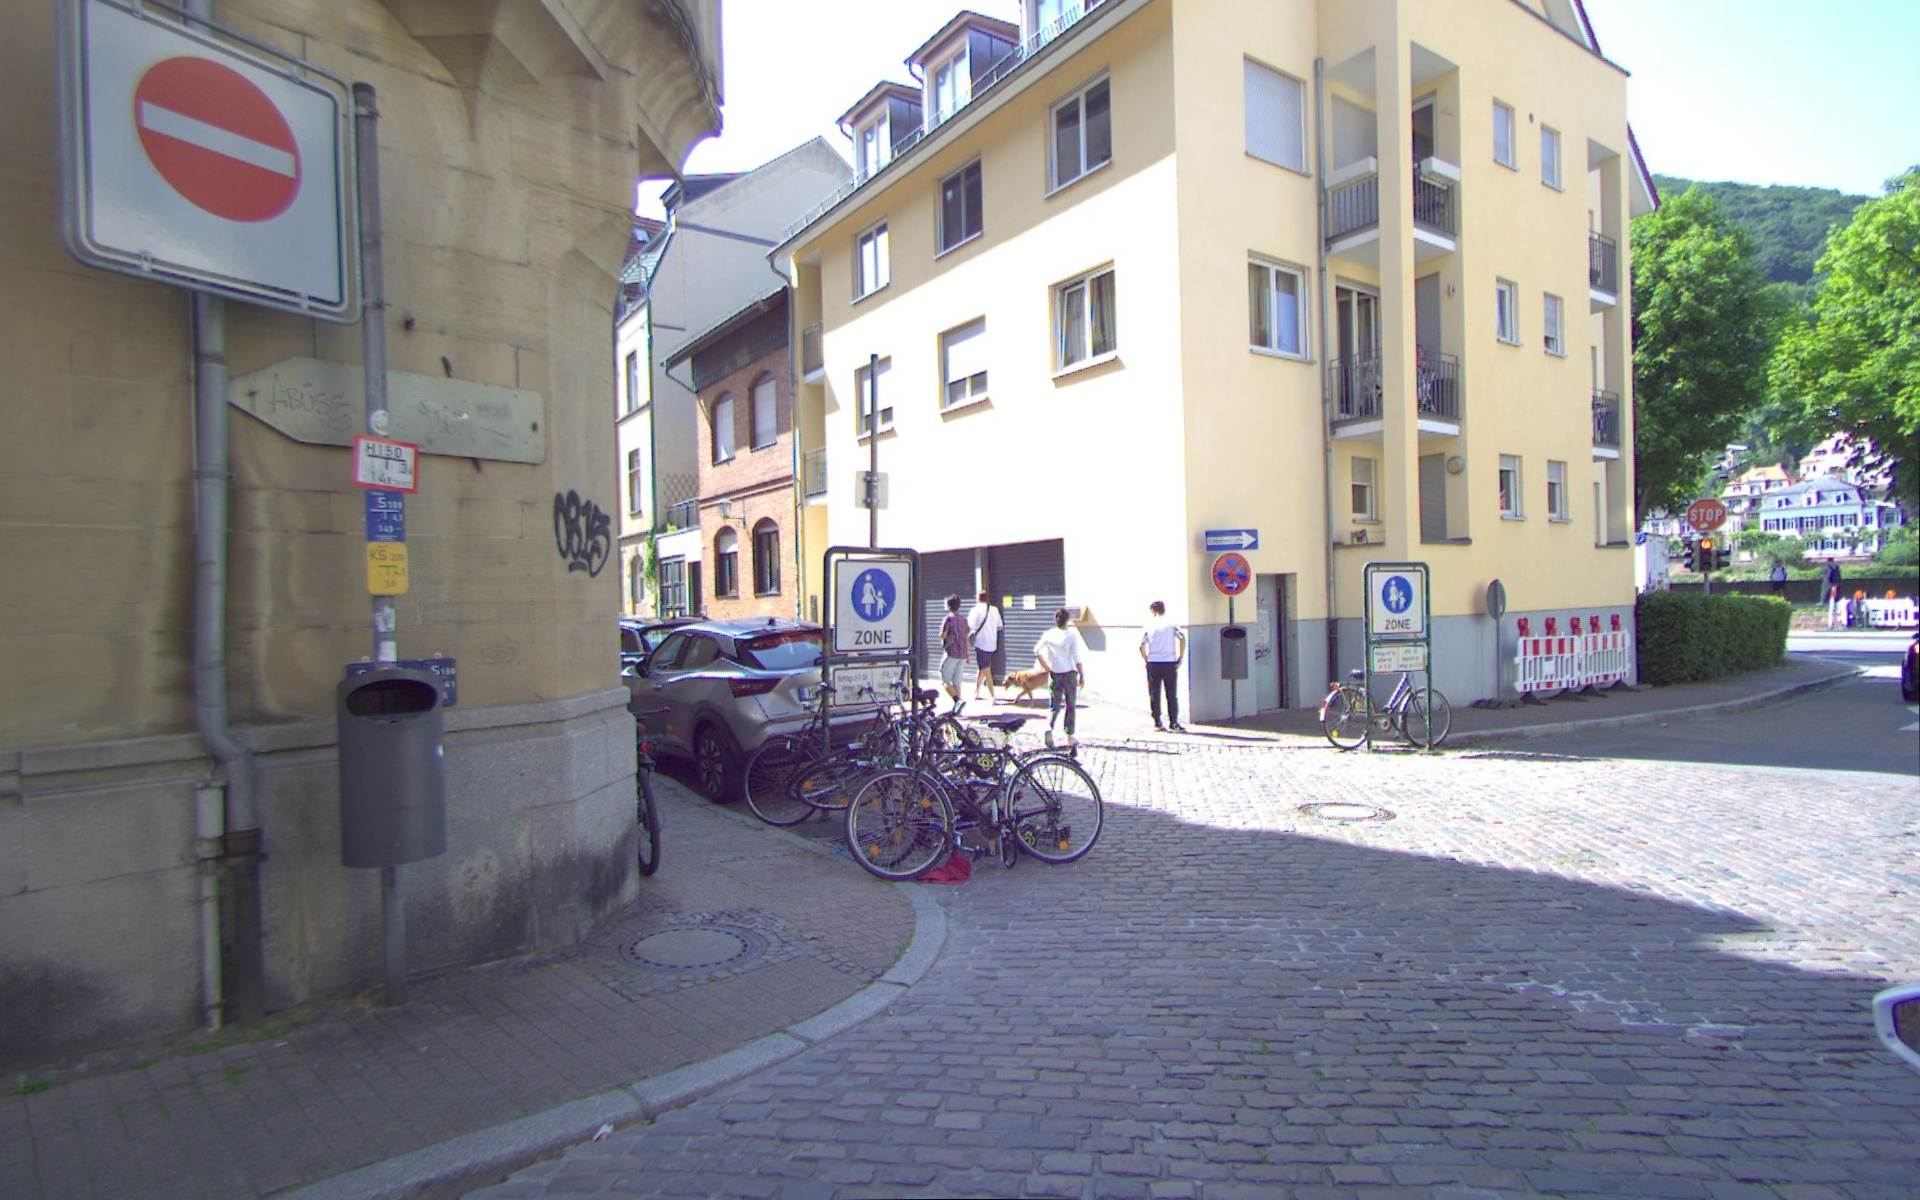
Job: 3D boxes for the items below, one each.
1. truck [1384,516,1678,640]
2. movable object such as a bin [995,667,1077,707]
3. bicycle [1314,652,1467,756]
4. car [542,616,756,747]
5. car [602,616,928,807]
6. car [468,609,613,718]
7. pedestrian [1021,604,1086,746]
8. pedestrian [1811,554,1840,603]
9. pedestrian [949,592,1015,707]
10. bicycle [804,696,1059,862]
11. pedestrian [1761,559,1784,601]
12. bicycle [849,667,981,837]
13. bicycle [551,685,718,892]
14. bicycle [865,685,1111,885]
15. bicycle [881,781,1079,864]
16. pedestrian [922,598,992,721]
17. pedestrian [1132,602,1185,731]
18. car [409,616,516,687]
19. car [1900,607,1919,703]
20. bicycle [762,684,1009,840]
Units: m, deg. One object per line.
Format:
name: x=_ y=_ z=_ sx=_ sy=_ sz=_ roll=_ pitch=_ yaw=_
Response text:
truck: x=21.380 y=-0.587 z=38.304 sx=2.838 sy=4.101 sz=9.308 roll=0 pitch=-2 yaw=-40
movable object such as a bin: x=1.142 y=1.316 z=15.176 sx=1.220 sy=0.571 sz=0.300 roll=-3 pitch=-2 yaw=29
bicycle: x=5.092 y=1.203 z=11.854 sx=1.880 sy=1.093 sz=0.390 roll=-1 pitch=0 yaw=-20
car: x=-4.637 y=1.040 z=14.586 sx=1.835 sy=1.565 sz=3.960 roll=0 pitch=0 yaw=-36
car: x=-2.214 y=0.988 z=10.576 sx=1.835 sy=1.564 sz=3.887 roll=-1 pitch=0 yaw=-37
car: x=-7.393 y=1.000 z=17.517 sx=1.553 sy=1.657 sz=3.822 roll=0 pitch=0 yaw=-35
pedestrian: x=1.137 y=0.888 z=12.123 sx=0.676 sy=1.639 sz=0.757 roll=2 pitch=-1 yaw=10
pedestrian: x=33.534 y=-0.822 z=38.918 sx=0.752 sy=1.882 sz=0.754 roll=0 pitch=0 yaw=34
pedestrian: x=0.338 y=0.770 z=15.954 sx=0.613 sy=1.768 sz=0.853 roll=2 pitch=0 yaw=-35
bicycle: x=-0.163 y=1.217 z=7.022 sx=1.633 sy=1.085 sz=0.285 roll=0 pitch=43 yaw=-48
pedestrian: x=34.180 y=-0.829 z=42.249 sx=0.699 sy=1.755 sz=0.753 roll=0 pitch=0 yaw=41
bicycle: x=-0.329 y=1.194 z=8.280 sx=0.280 sy=1.100 sz=1.640 roll=-3 pitch=1 yaw=25
bicycle: x=-2.145 y=1.139 z=6.500 sx=0.491 sy=1.100 sz=1.625 roll=4 pitch=-4 yaw=-36
bicycle: x=0.201 y=1.153 z=6.497 sx=1.619 sy=1.100 sz=0.284 roll=-1 pitch=3 yaw=-23
bicycle: x=0.117 y=1.588 z=7.309 sx=1.108 sy=0.291 sz=1.073 roll=-1 pitch=-1 yaw=-23
pedestrian: x=-0.055 y=0.867 z=15.058 sx=0.613 sy=1.768 sz=0.853 roll=2 pitch=0 yaw=-35
pedestrian: x=2.577 y=0.852 z=13.089 sx=0.644 sy=1.639 sz=0.493 roll=0 pitch=0 yaw=10
car: x=-11.699 y=1.133 z=23.490 sx=1.647 sy=1.462 sz=3.821 roll=0 pitch=0 yaw=-36
car: x=17.324 y=0.806 z=16.809 sx=4.684 sy=1.481 sz=1.701 roll=-1 pitch=-2 yaw=-40
bicycle: x=-0.513 y=1.157 z=7.367 sx=1.633 sy=1.085 sz=0.285 roll=0 pitch=43 yaw=-48
